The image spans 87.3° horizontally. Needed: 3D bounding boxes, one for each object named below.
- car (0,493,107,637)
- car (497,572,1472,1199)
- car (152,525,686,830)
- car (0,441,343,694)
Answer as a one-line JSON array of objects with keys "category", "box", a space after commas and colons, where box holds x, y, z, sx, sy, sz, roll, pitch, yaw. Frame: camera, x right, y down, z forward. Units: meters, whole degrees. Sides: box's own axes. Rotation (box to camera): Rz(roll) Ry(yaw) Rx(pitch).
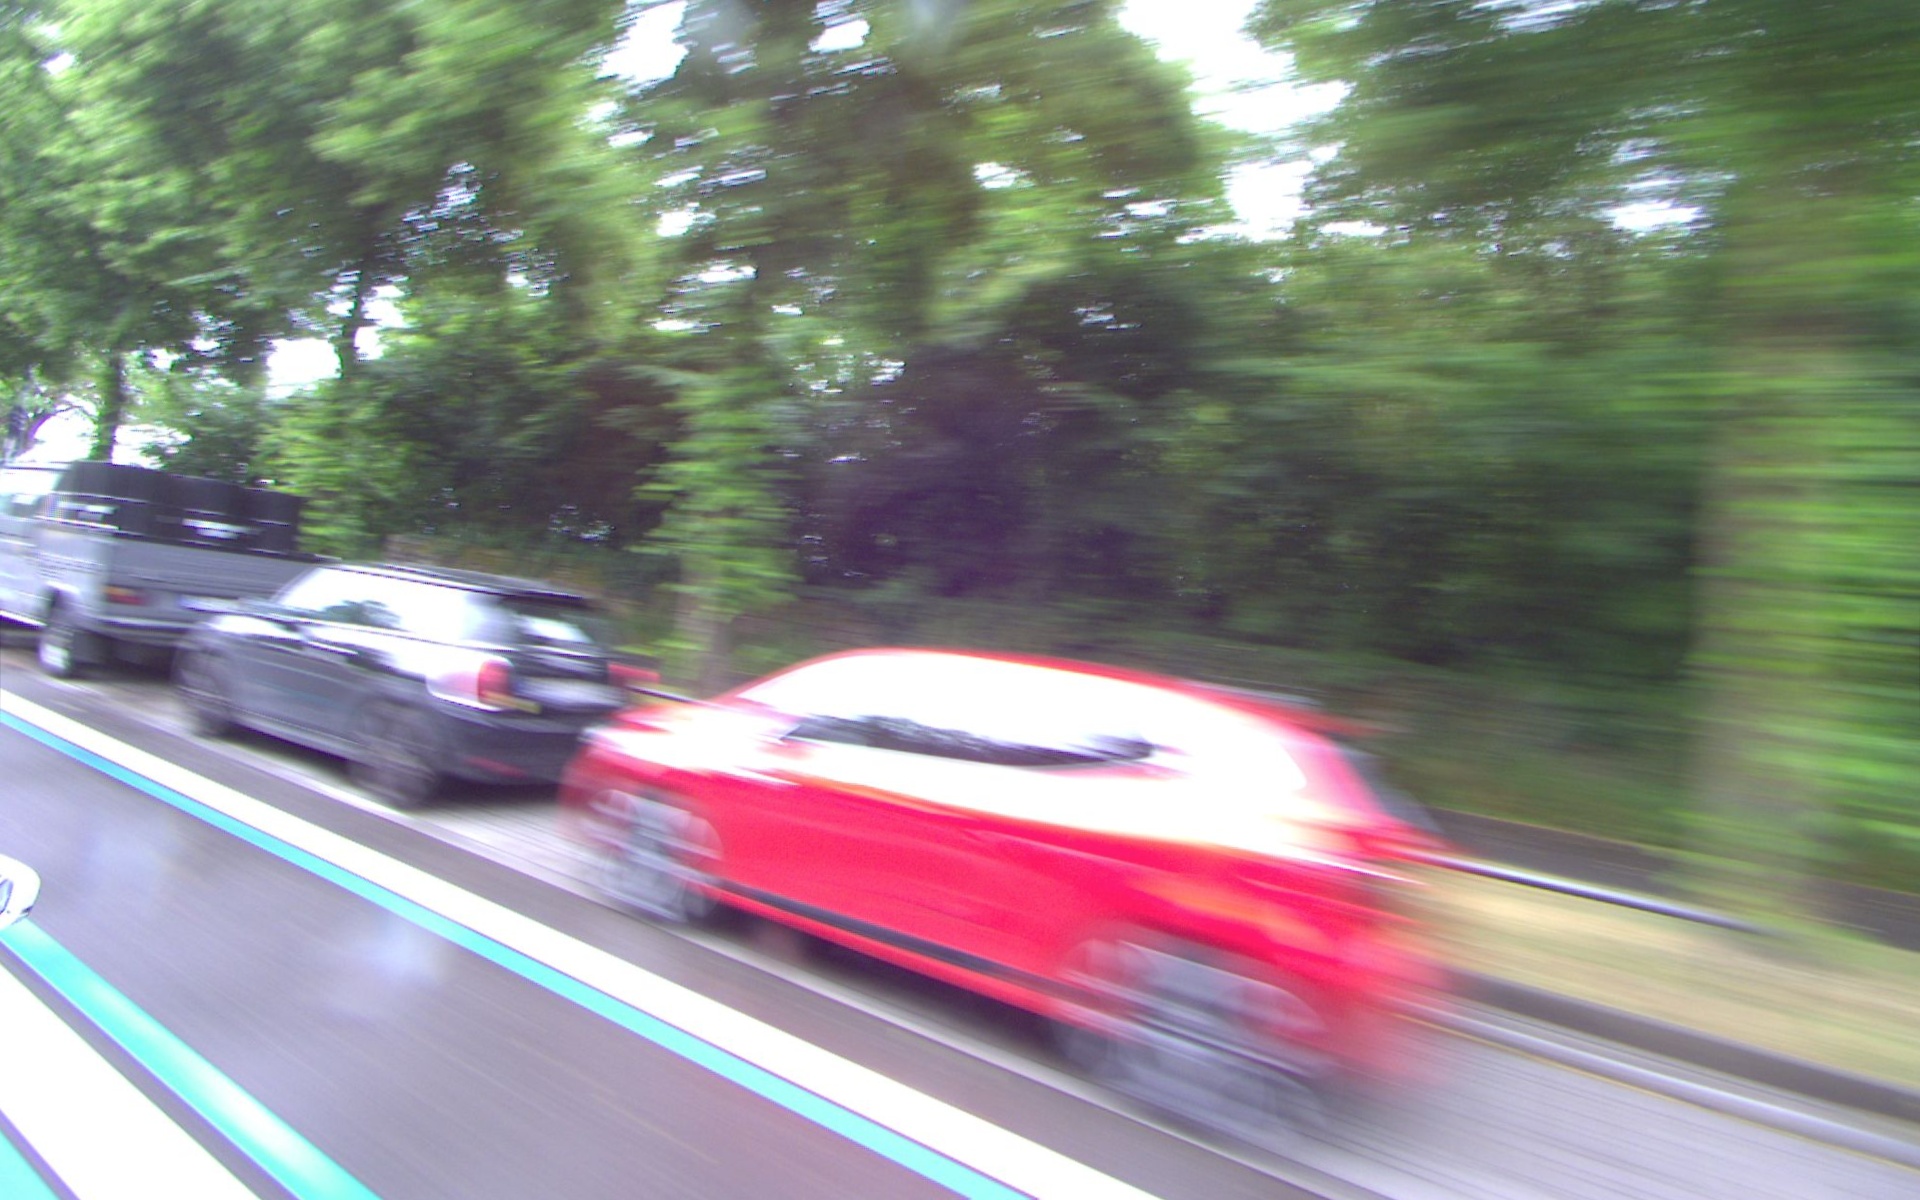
[{"category": "car", "box": [-12.930, -0.659, 12.624, 4.807, 1.560, 1.793, 7, -2, 30]}, {"category": "car", "box": [-0.069, 0.888, 4.663, 4.097, 1.469, 1.689, 7, -2, 32]}, {"category": "car", "box": [-3.963, 0.442, 7.235, 3.684, 1.469, 1.609, 7, -2, 31]}, {"category": "car", "box": [-8.648, -0.400, 10.368, 4.587, 2.046, 1.929, 7, -1, 32]}]
